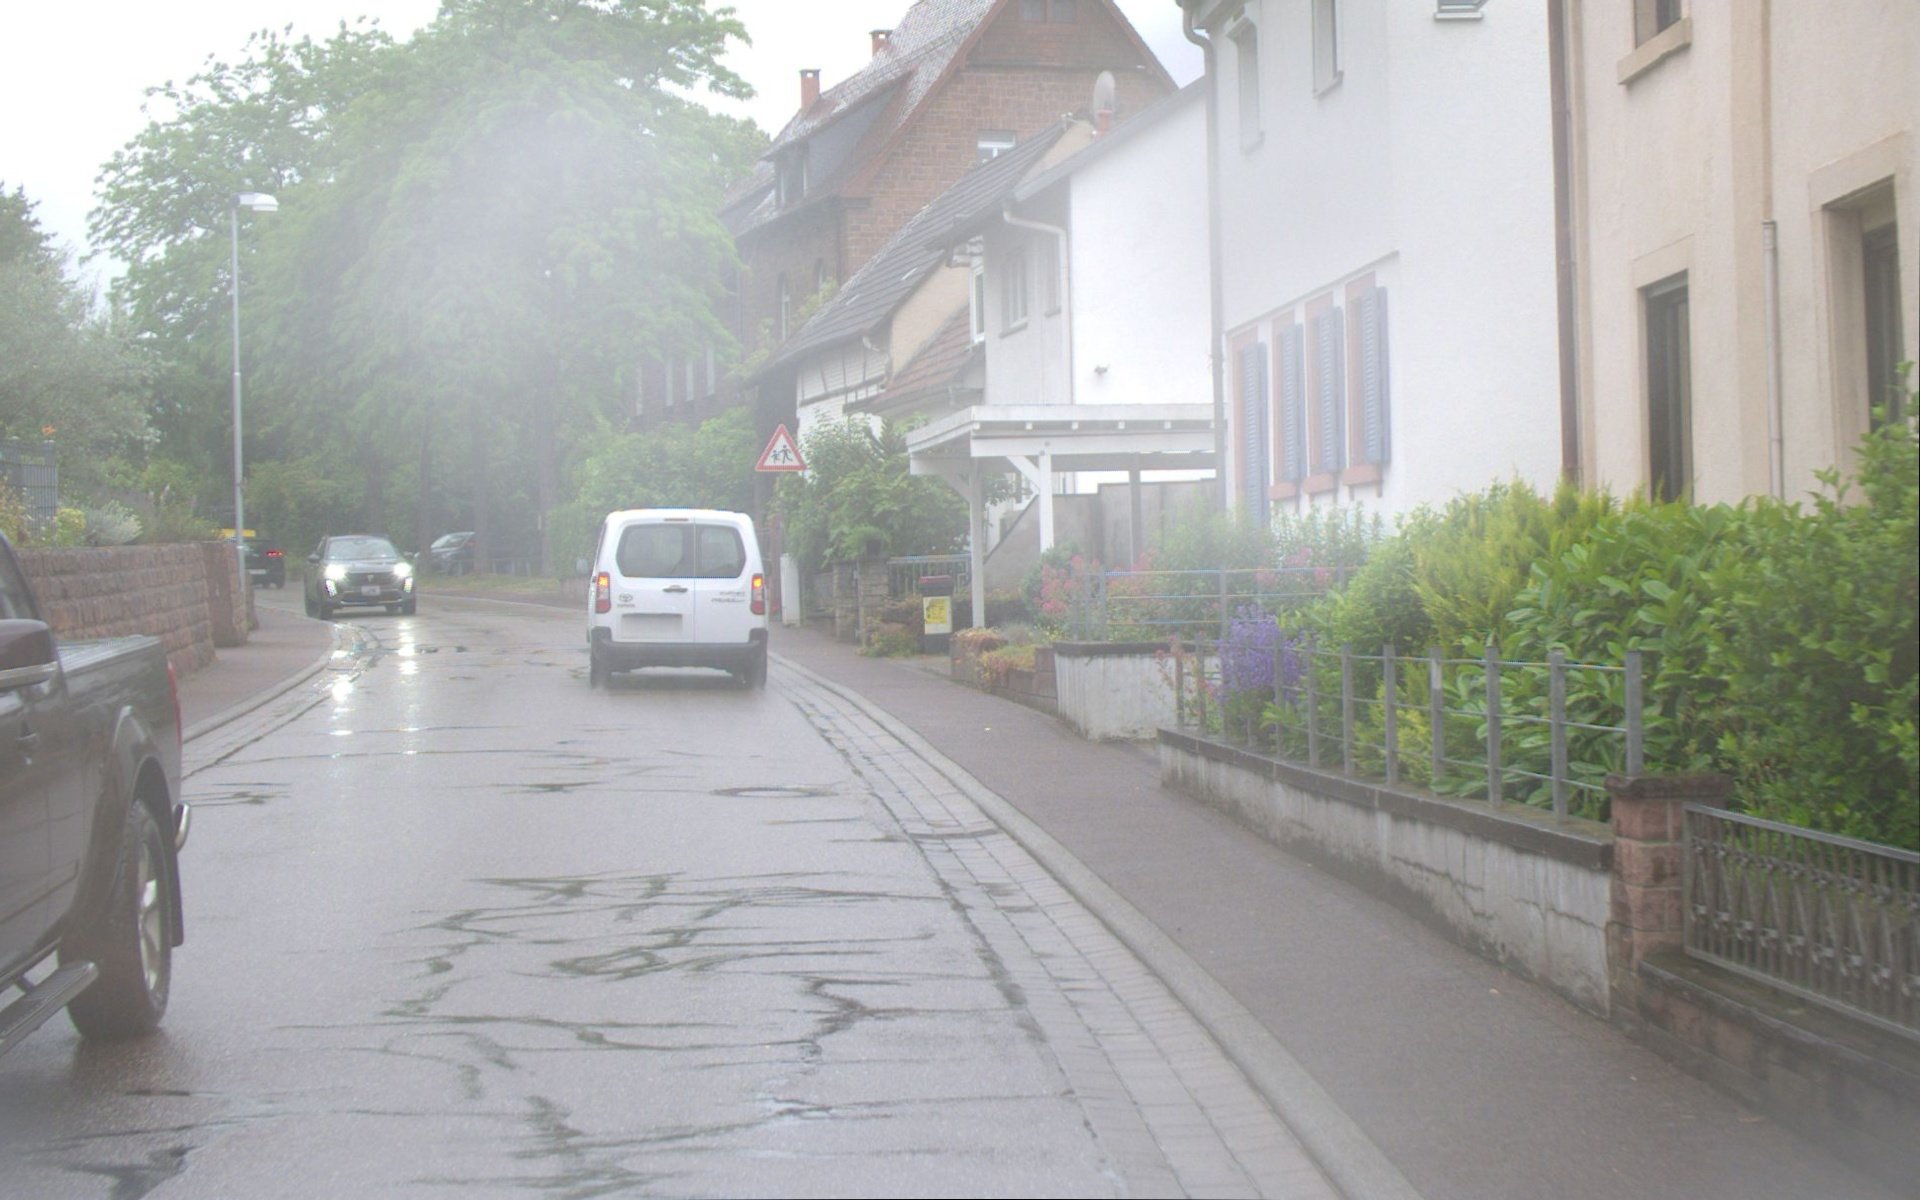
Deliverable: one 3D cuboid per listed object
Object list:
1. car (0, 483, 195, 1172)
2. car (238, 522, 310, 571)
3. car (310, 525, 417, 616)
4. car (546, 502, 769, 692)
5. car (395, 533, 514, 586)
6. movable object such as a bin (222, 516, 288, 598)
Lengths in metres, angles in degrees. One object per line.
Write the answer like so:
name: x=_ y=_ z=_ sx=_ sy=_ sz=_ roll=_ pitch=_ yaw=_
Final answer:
car: x=-3.322 y=0.583 z=8.897 sx=1.834 sy=1.667 sz=5.198 roll=-3 pitch=1 yaw=-5
car: x=-19.489 y=-1.505 z=97.519 sx=1.708 sy=1.373 sz=4.001 roll=-1 pitch=1 yaw=-15
car: x=-11.285 y=-0.577 z=64.856 sx=1.699 sy=1.541 sz=3.852 roll=-4 pitch=2 yaw=-12
car: x=-3.207 y=-0.088 z=35.794 sx=1.896 sy=1.800 sz=4.001 roll=-2 pitch=2 yaw=-10
car: x=-15.984 y=-1.281 z=108.890 sx=1.620 sy=1.546 sz=3.606 roll=-2 pitch=1 yaw=36
movable object such as a bin: x=-22.494 y=-1.365 z=109.568 sx=1.761 sy=2.539 sz=4.240 roll=-1 pitch=1 yaw=-16
